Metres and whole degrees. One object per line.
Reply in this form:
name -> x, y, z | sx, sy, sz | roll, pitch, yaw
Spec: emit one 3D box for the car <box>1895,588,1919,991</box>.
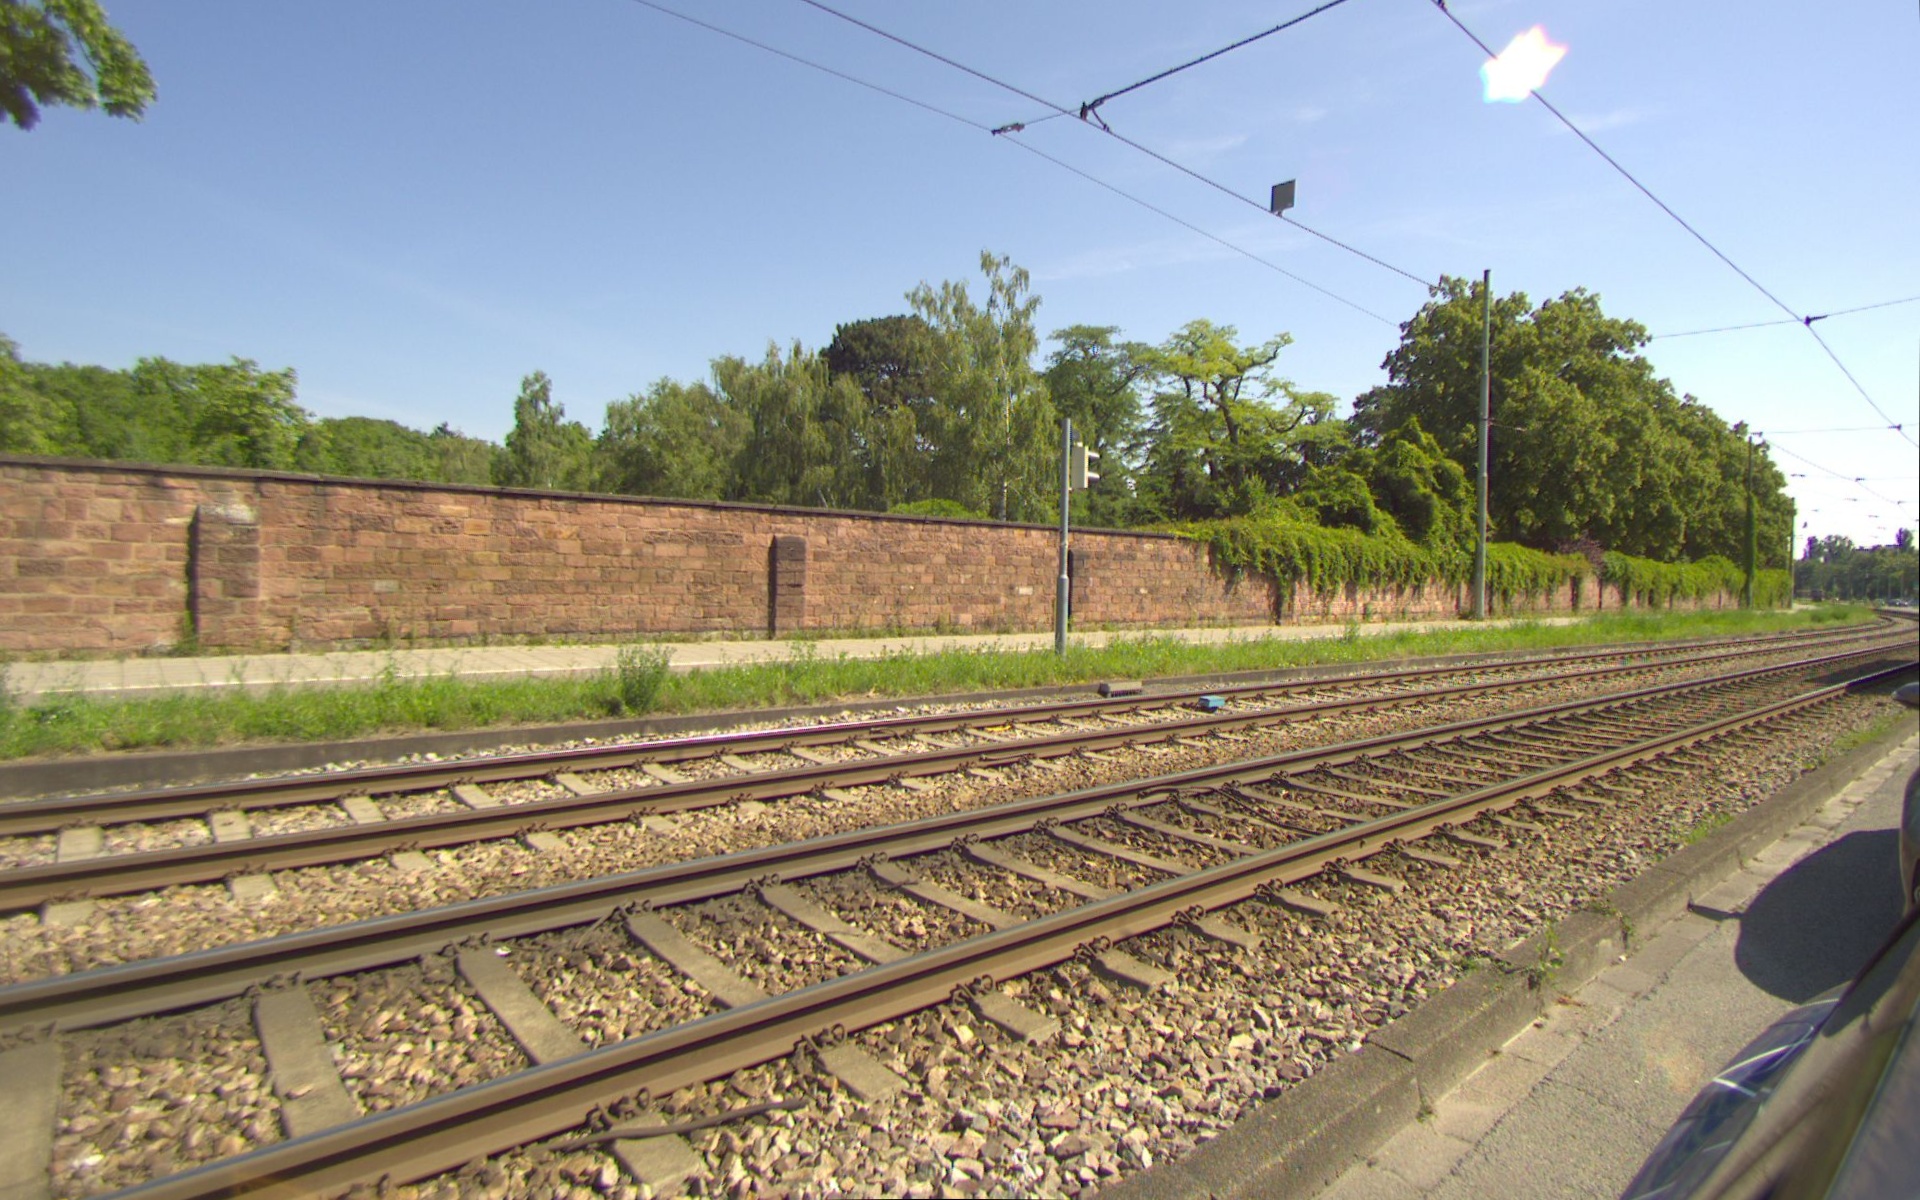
car -> 5.842, 0.693, 4.641 | 4.953, 1.448, 1.746 | 0, 1, -41
